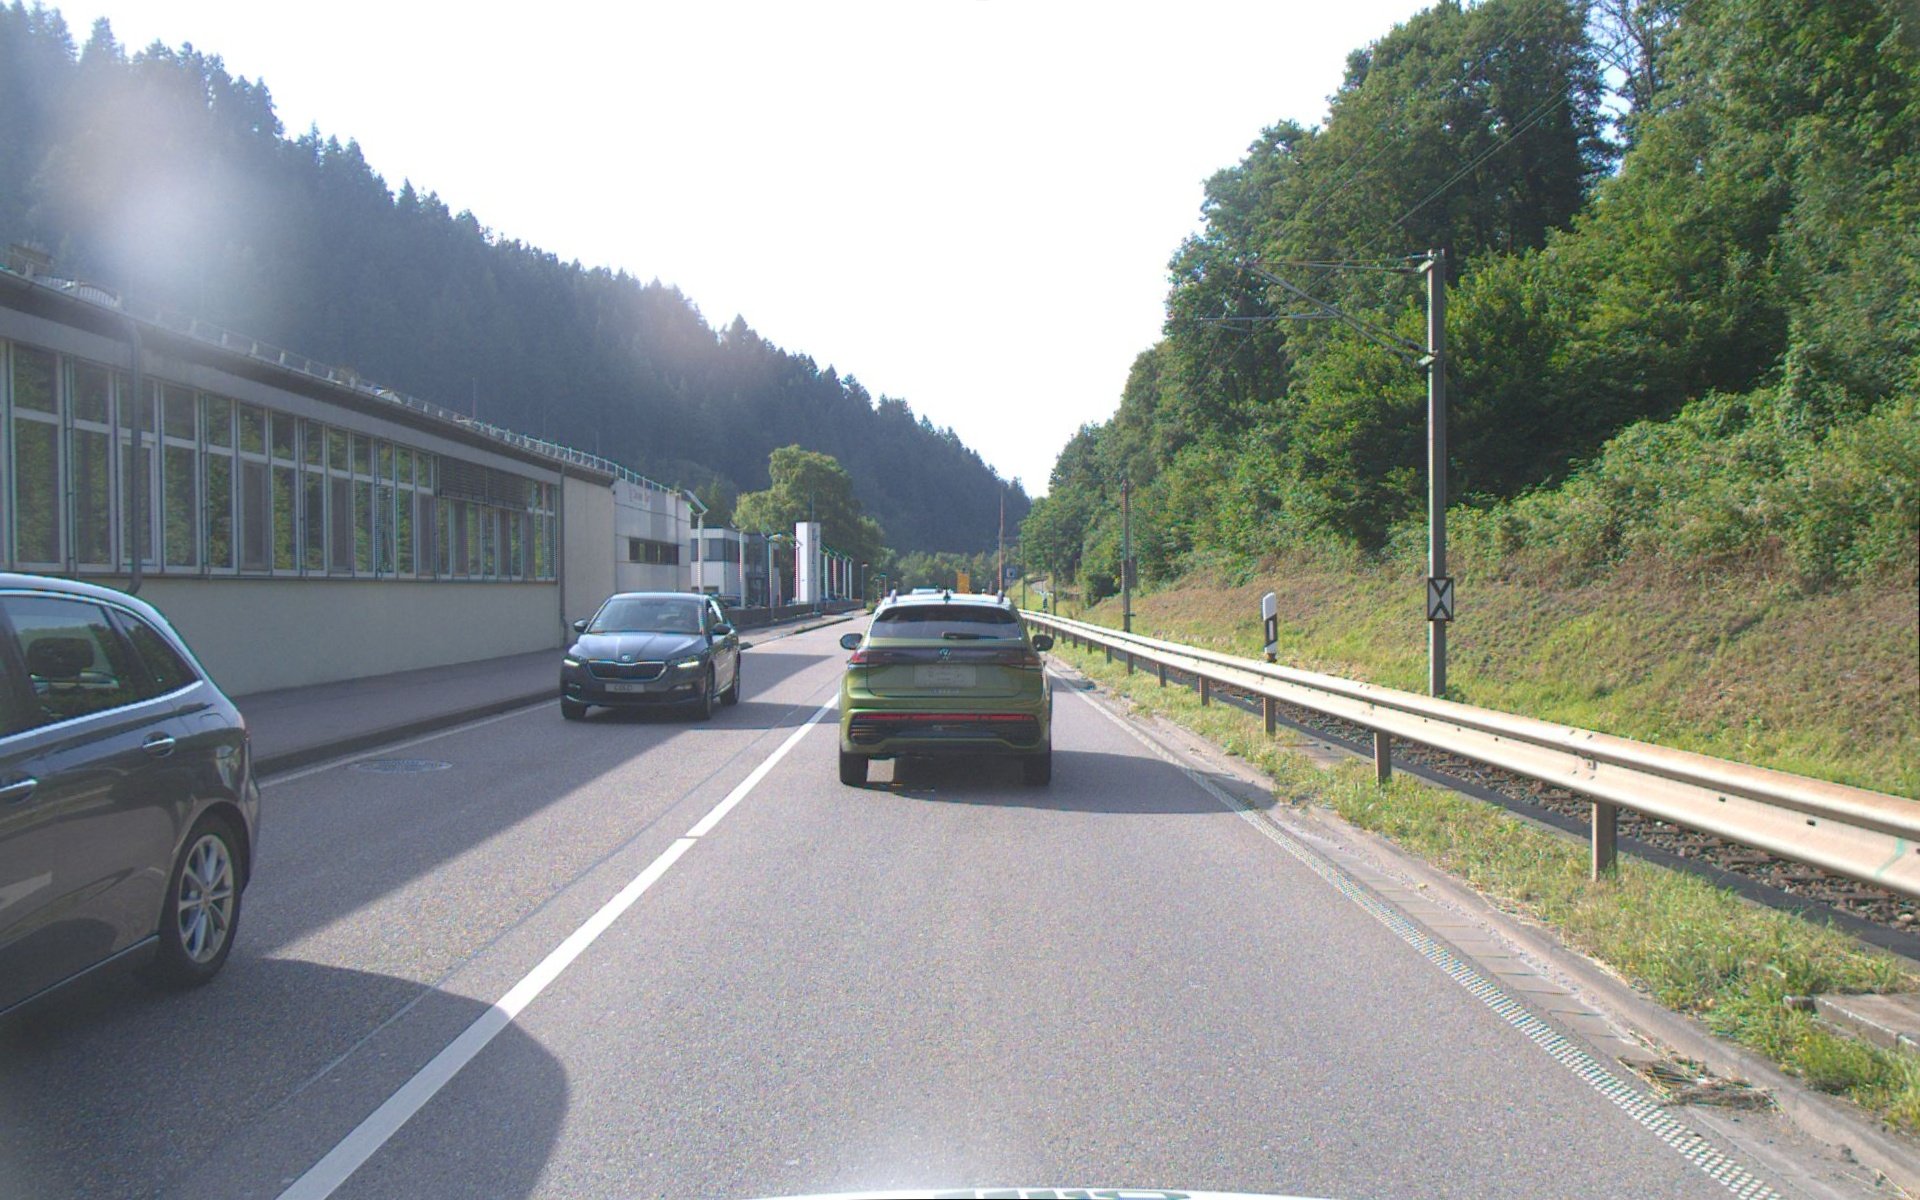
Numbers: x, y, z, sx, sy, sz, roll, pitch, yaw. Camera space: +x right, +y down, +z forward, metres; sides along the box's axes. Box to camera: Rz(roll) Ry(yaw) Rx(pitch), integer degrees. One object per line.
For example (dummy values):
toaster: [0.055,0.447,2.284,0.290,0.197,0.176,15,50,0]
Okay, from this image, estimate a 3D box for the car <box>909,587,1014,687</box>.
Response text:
car: [-0.023,0.601,29.027,1.704,1.630,3.999,0,0,-2]

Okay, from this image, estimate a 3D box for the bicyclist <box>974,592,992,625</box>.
bicyclist: [1.026,0.360,73.262,0.766,1.436,0.675,0,0,-3]

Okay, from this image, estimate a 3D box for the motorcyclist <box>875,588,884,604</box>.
motorcyclist: [-5.522,-0.279,113.902,0.574,1.144,0.636,0,0,-1]

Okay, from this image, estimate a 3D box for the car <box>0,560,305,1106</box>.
car: [-3.539,0.640,4.723,1.684,1.541,4.198,1,0,-1]

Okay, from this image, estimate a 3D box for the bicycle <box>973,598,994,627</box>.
bicycle: [1.029,0.533,73.332,0.795,1.272,2.121,0,0,-3]

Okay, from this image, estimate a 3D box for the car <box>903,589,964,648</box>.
car: [-0.788,0.508,48.342,1.704,1.630,3.999,0,0,-2]

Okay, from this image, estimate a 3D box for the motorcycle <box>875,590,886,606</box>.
motorcycle: [-5.495,-0.126,114.324,0.726,1.087,2.492,0,0,-1]

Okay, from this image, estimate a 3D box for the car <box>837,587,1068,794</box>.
car: [-0.104,0.665,14.253,1.704,1.534,3.999,0,0,-2]

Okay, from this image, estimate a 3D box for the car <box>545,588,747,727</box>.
car: [-3.754,0.630,20.438,1.737,1.516,4.051,1,0,-1]
